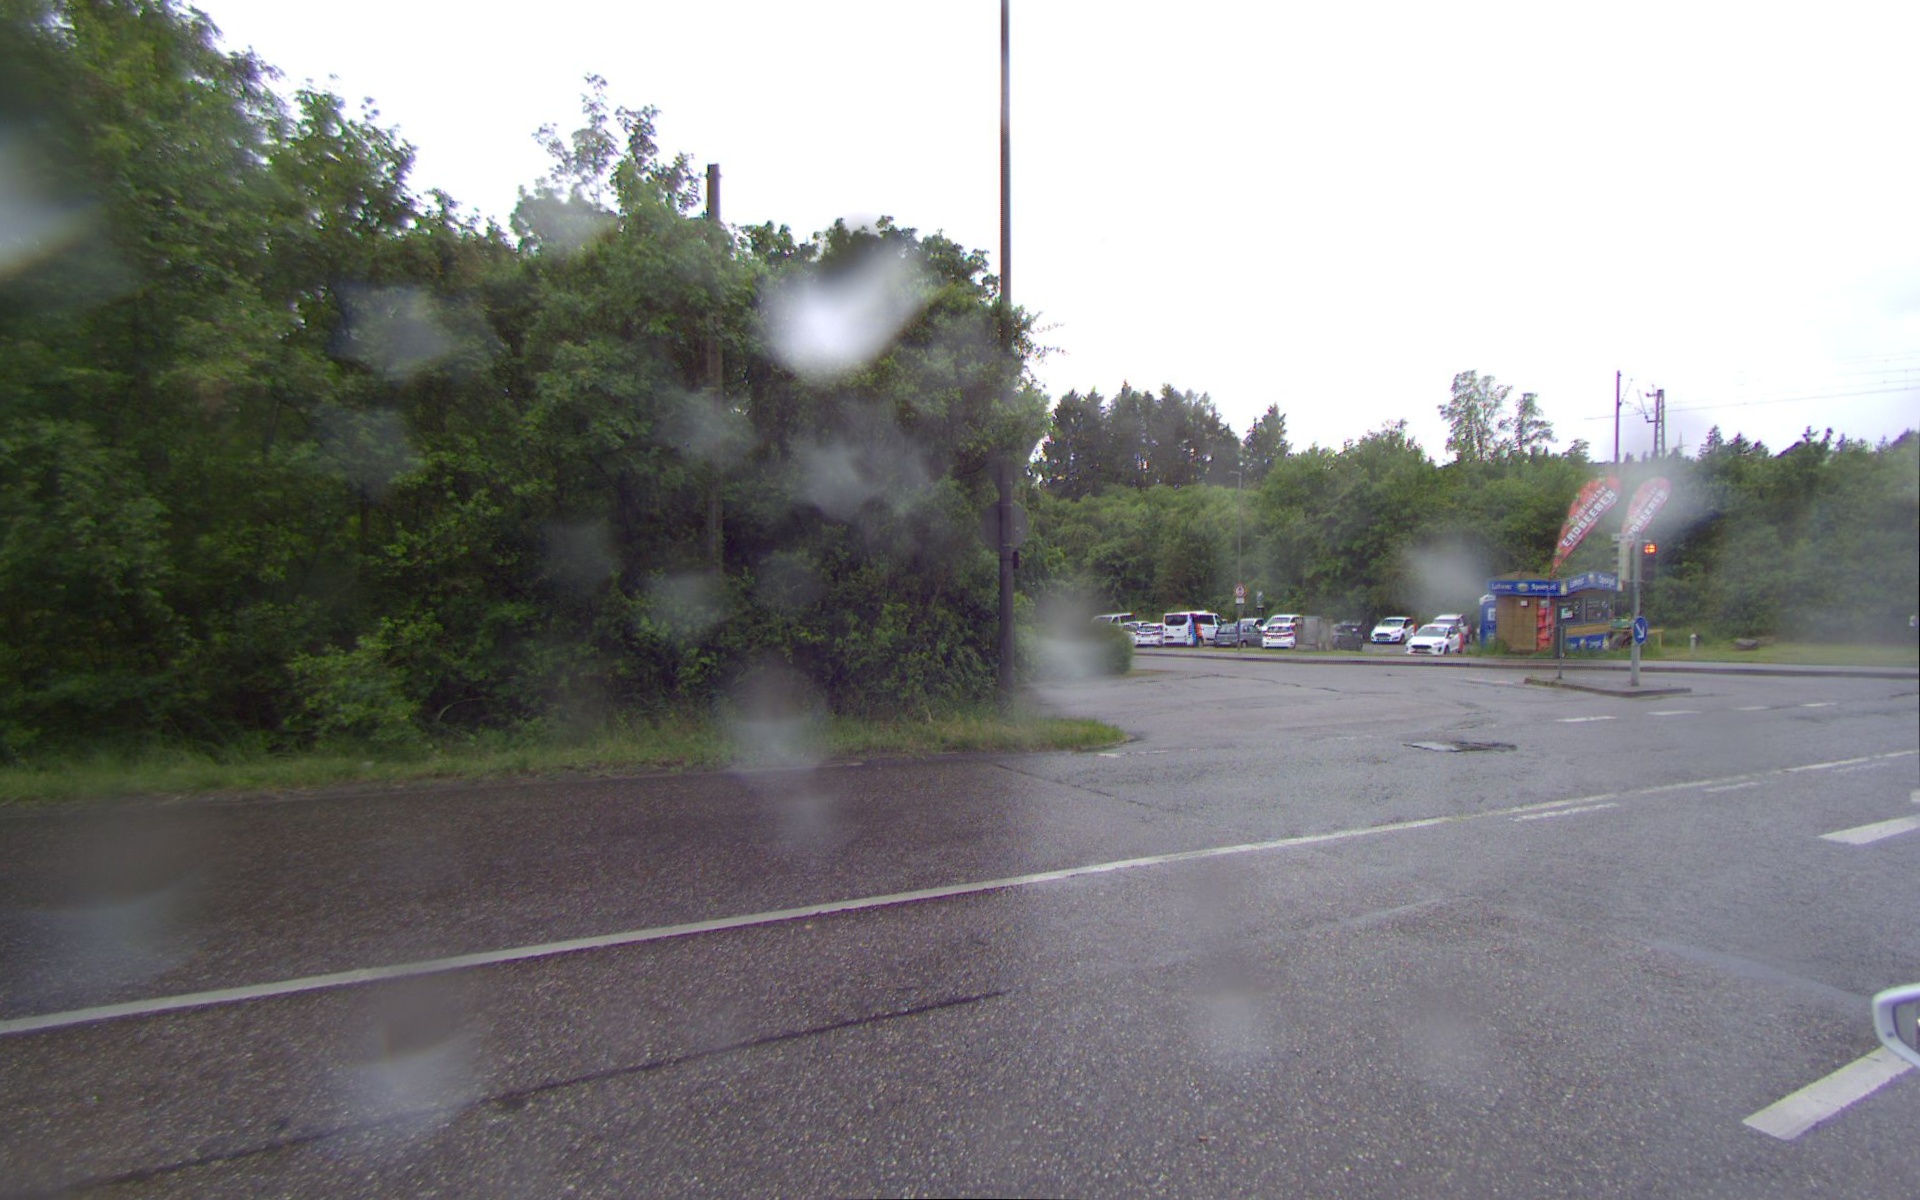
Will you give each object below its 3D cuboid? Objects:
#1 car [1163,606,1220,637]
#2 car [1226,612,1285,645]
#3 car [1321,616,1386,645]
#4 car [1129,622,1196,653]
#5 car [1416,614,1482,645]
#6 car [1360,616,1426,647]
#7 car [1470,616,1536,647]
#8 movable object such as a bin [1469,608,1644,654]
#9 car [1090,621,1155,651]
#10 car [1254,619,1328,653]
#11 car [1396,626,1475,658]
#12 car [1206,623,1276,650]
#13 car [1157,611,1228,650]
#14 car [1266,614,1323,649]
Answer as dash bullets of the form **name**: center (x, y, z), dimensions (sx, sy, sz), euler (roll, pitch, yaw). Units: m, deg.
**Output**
- **car**: center (15.659, 1.456, 67.838), dimensions (1.972, 2.040, 3.976), euler (1, -1, 44)
- **car**: center (18.963, 1.828, 64.361), dimensions (3.973, 2.040, 1.974), euler (2, -2, -44)
- **car**: center (23.111, 1.793, 58.934), dimensions (3.972, 1.606, 1.975), euler (3, -1, -43)
- **car**: center (11.306, 2.100, 55.902), dimensions (1.834, 1.606, 3.978), euler (1, -1, 42)
- **car**: center (26.766, 1.612, 54.944), dimensions (3.972, 1.606, 1.975), euler (2, -2, -43)
- **car**: center (24.562, 1.812, 56.939), dimensions (3.972, 1.606, 1.975), euler (3, -1, -43)
- **car**: center (29.060, 1.677, 53.760), dimensions (3.972, 1.606, 1.975), euler (2, -2, -43)
- **movable object such as a bin**: center (24.924, 1.291, 42.239), dimensions (5.663, 1.649, 2.753), euler (2, -1, 10)
- **car**: center (9.391, 2.081, 57.799), dimensions (1.813, 1.606, 3.978), euler (1, -1, 42)
- **car**: center (16.840, 1.838, 51.019), dimensions (3.880, 1.606, 1.918), euler (3, -1, -43)
- **car**: center (22.005, 1.950, 46.396), dimensions (4.869, 1.358, 1.636), euler (3, -1, -43)
- **car**: center (14.791, 1.930, 52.716), dimensions (3.972, 1.327, 1.734), euler (3, -1, -43)
- **car**: center (12.530, 1.657, 53.966), dimensions (1.971, 1.974, 3.978), euler (1, -1, 42)
- **car**: center (20.833, 1.953, 62.480), dimensions (1.916, 2.040, 3.846), euler (1, 0, 43)
